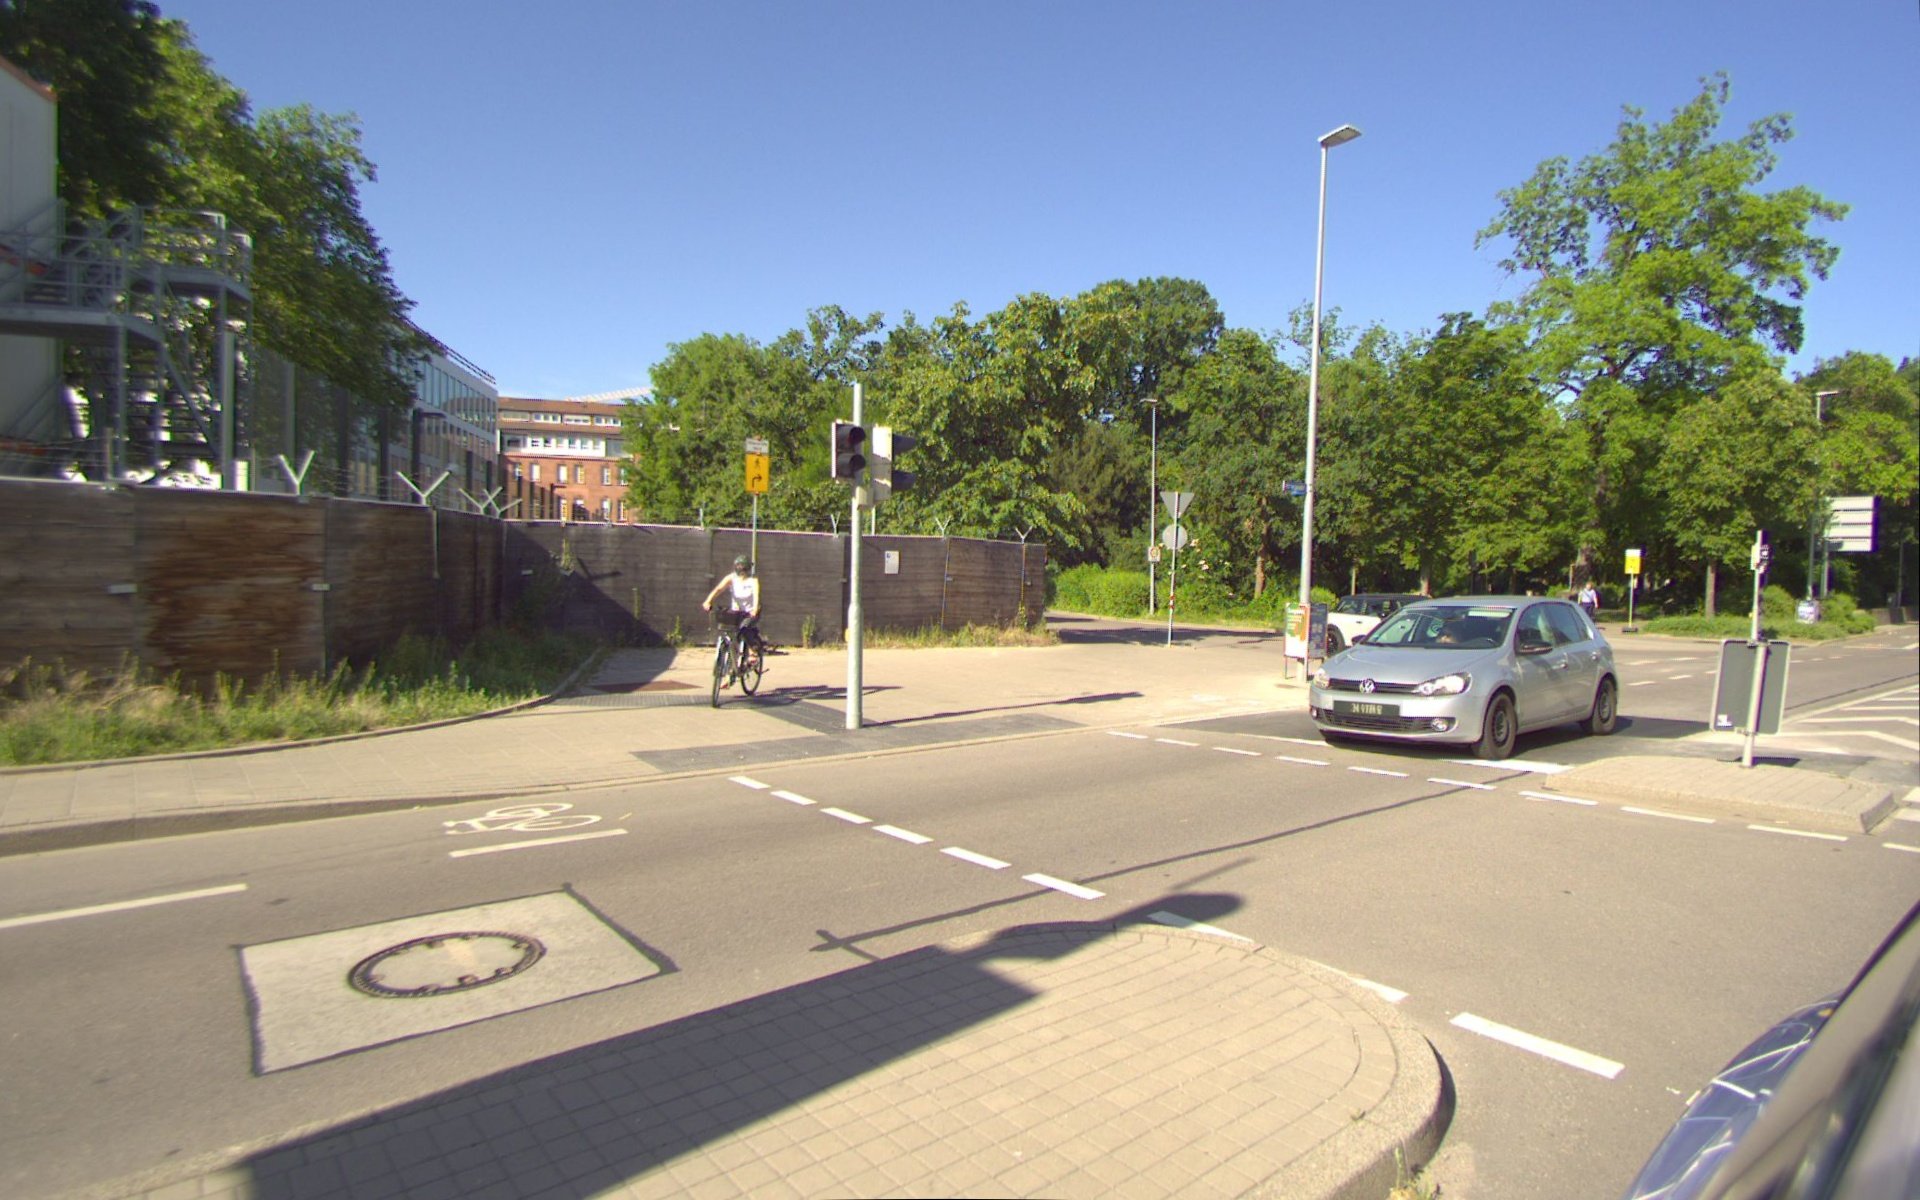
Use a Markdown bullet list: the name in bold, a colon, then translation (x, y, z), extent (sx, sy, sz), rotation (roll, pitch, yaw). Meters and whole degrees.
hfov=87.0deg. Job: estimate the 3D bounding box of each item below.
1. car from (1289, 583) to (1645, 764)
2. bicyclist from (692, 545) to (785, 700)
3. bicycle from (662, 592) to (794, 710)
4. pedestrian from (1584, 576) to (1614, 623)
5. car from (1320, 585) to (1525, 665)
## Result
- **car**: translation (5.250, 0.578, 10.292), extent (3.926, 1.492, 1.703), rotation (-1, 1, -38)
- **bicyclist**: translation (-2.534, 0.224, 11.638), extent (0.732, 1.693, 0.849), rotation (2, 2, 13)
- **bicycle**: translation (-2.610, 0.522, 11.671), extent (0.595, 1.126, 2.117), rotation (3, 3, 13)
- **pedestrian**: translation (23.708, -0.033, 37.561), extent (0.729, 1.723, 0.869), rotation (0, 1, 20)
- **car**: translation (9.493, 0.443, 21.089), extent (1.735, 1.454, 3.720), rotation (0, 1, -21)
